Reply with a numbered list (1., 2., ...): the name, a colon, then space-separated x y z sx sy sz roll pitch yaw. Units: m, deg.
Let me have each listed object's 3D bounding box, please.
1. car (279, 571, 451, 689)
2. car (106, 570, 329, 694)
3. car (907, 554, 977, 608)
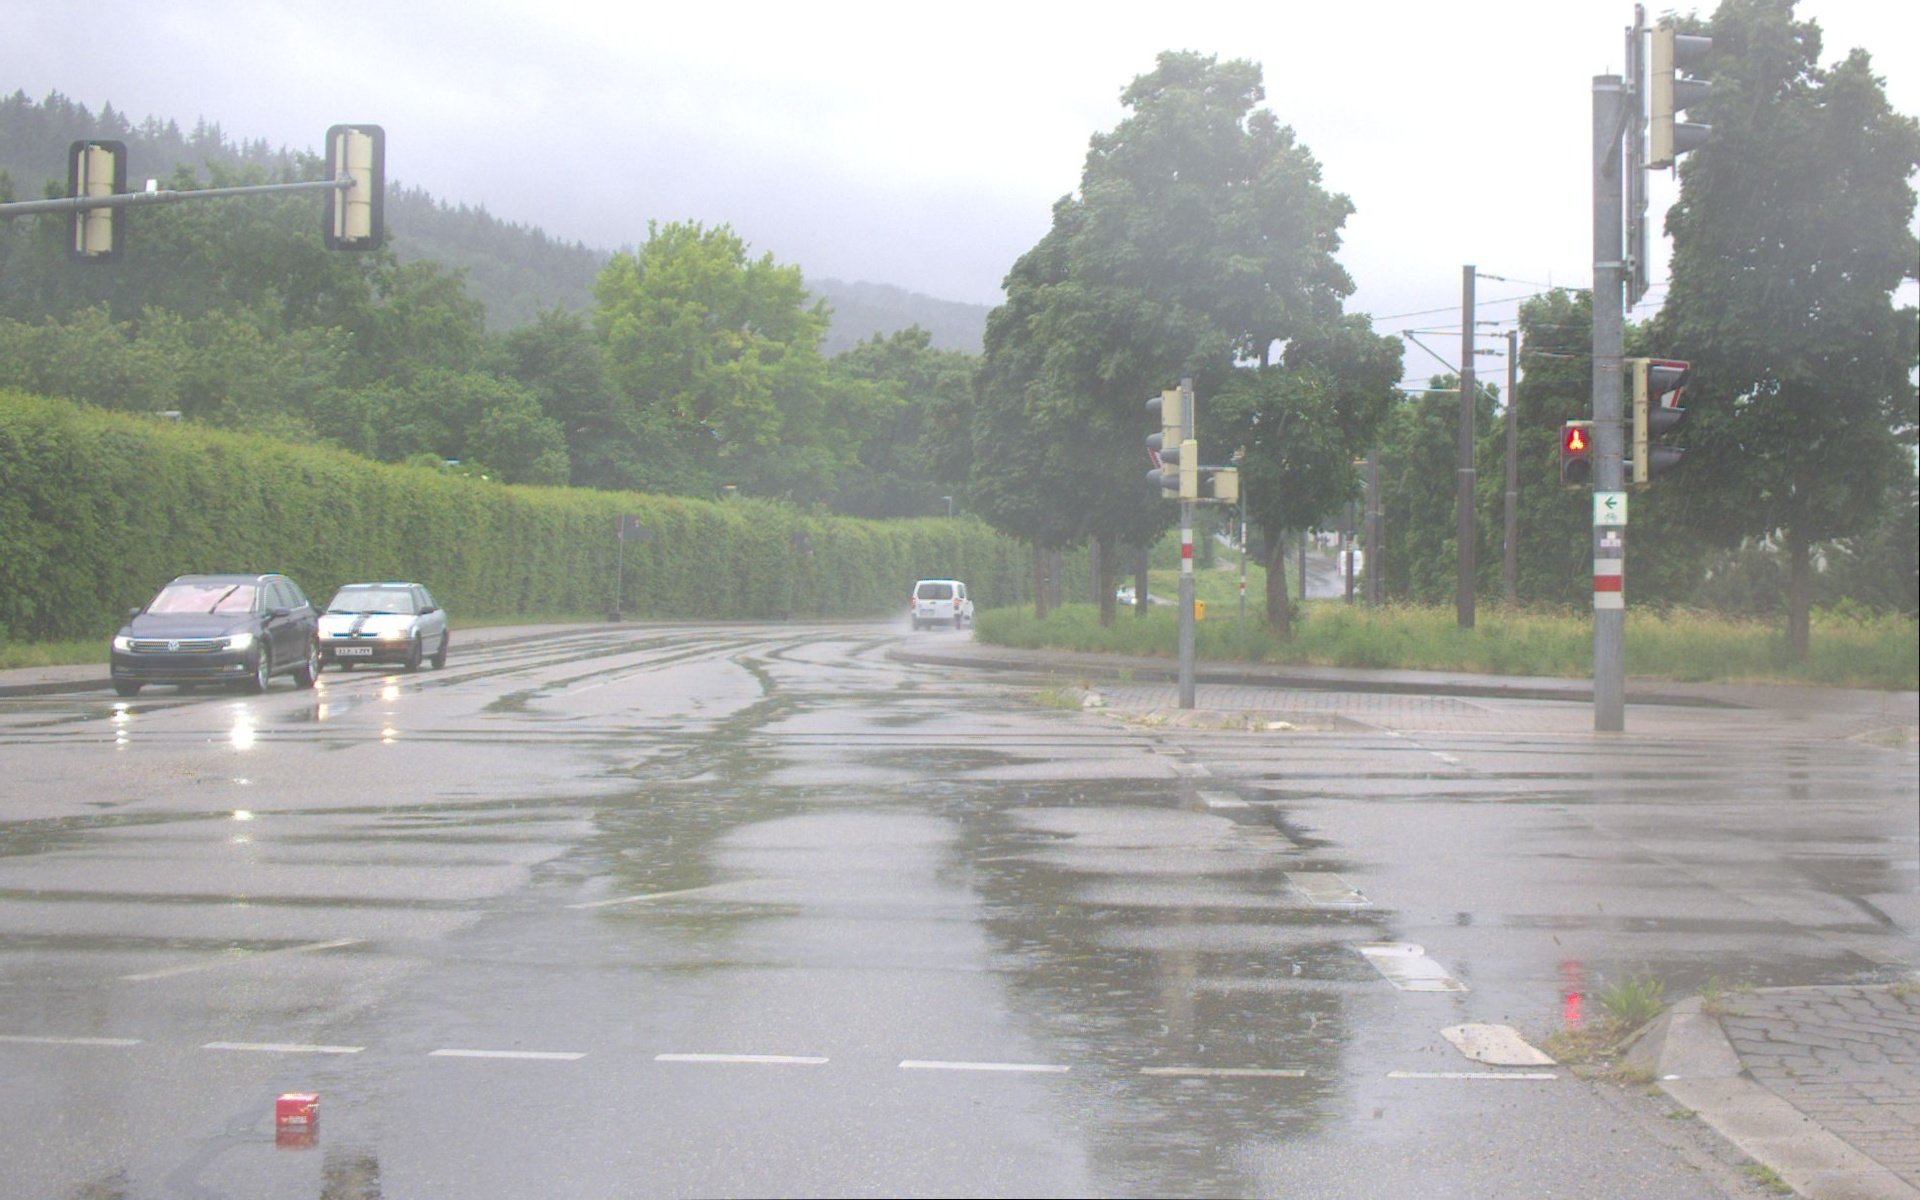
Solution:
1. car: -9.274 0.433 53.894 2.036 1.702 4.066 1 1 -1
2. car: -9.312 0.363 43.431 1.709 1.461 4.453 0 1 2
3. car: -0.623 -0.700 124.063 1.954 1.897 4.119 0 1 8
